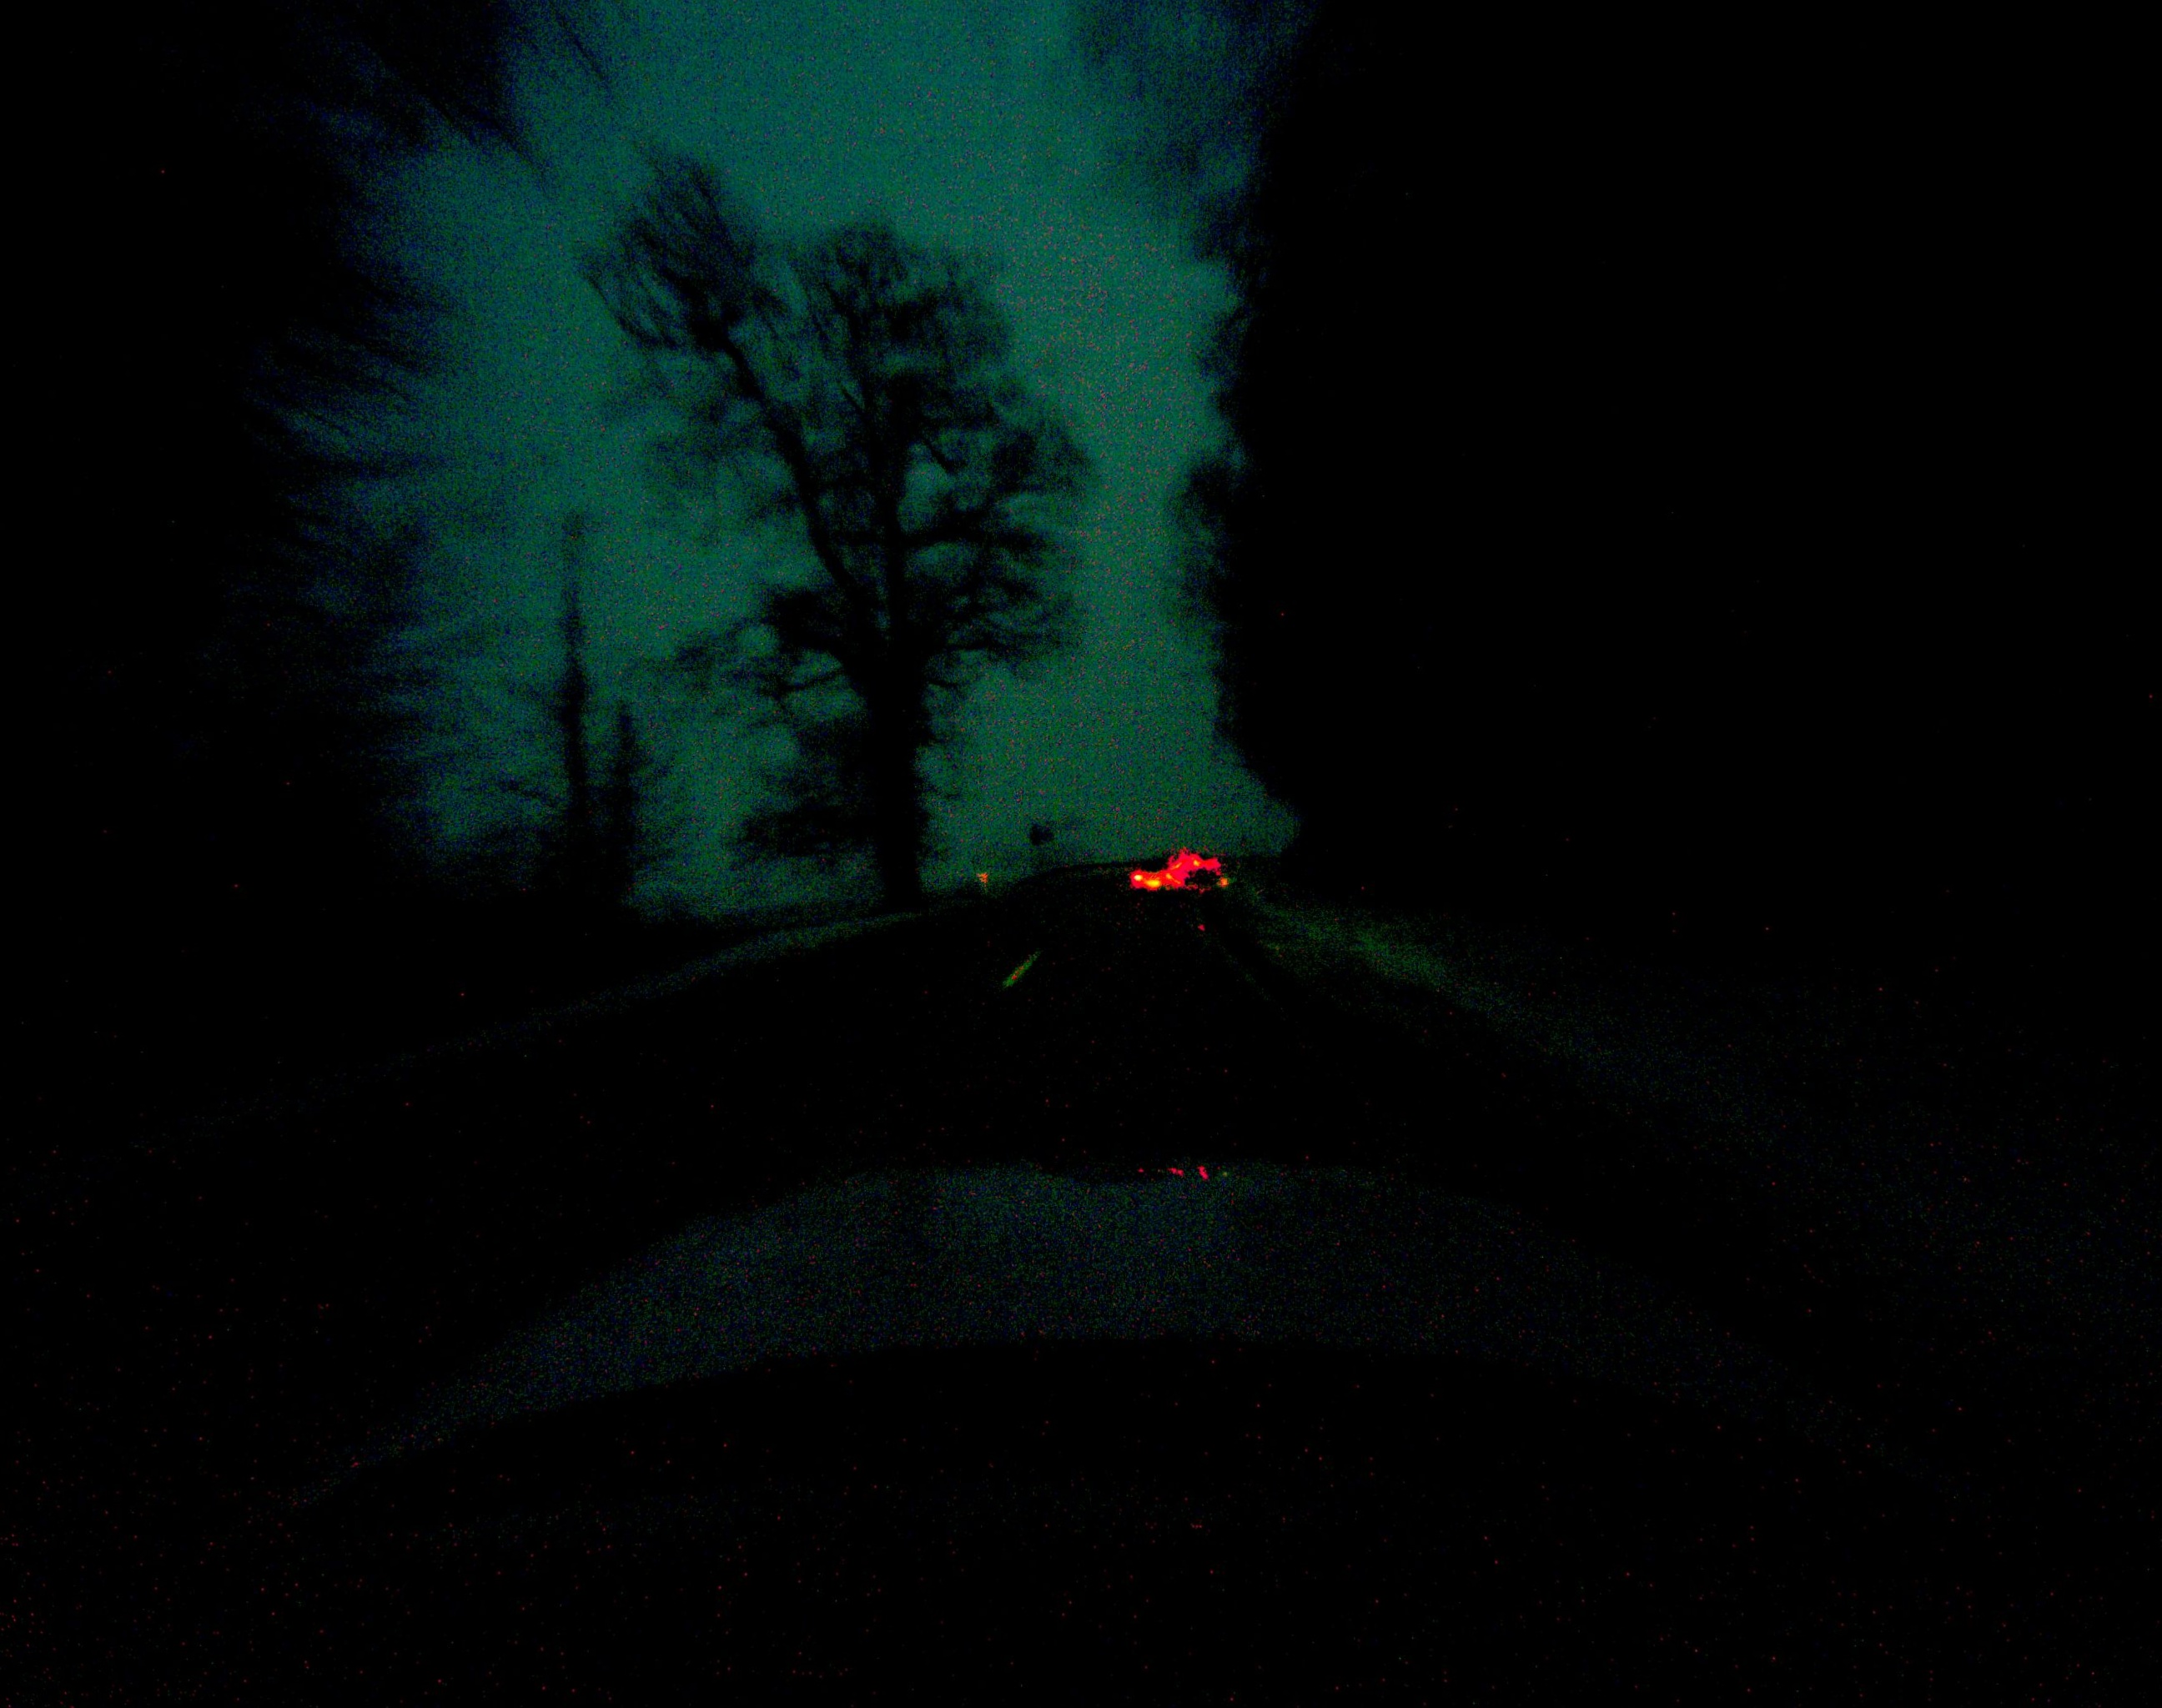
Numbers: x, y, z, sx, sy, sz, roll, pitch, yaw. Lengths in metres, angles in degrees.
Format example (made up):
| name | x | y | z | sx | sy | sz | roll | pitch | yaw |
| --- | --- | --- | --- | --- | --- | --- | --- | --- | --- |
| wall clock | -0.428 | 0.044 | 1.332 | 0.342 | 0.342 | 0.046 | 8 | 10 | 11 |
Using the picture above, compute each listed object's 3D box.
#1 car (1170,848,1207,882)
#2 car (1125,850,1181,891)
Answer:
| name | x | y | z | sx | sy | sz | roll | pitch | yaw |
| --- | --- | --- | --- | --- | --- | --- | --- | --- | --- |
| car | 6.053 | 0.573 | 46.164 | 1.983 | 1.782 | 4.008 | -1 | 1 | 7 |
| car | 2.928 | 0.613 | 32.445 | 1.934 | 1.381 | 4.010 | -2 | 1 | 9 |
